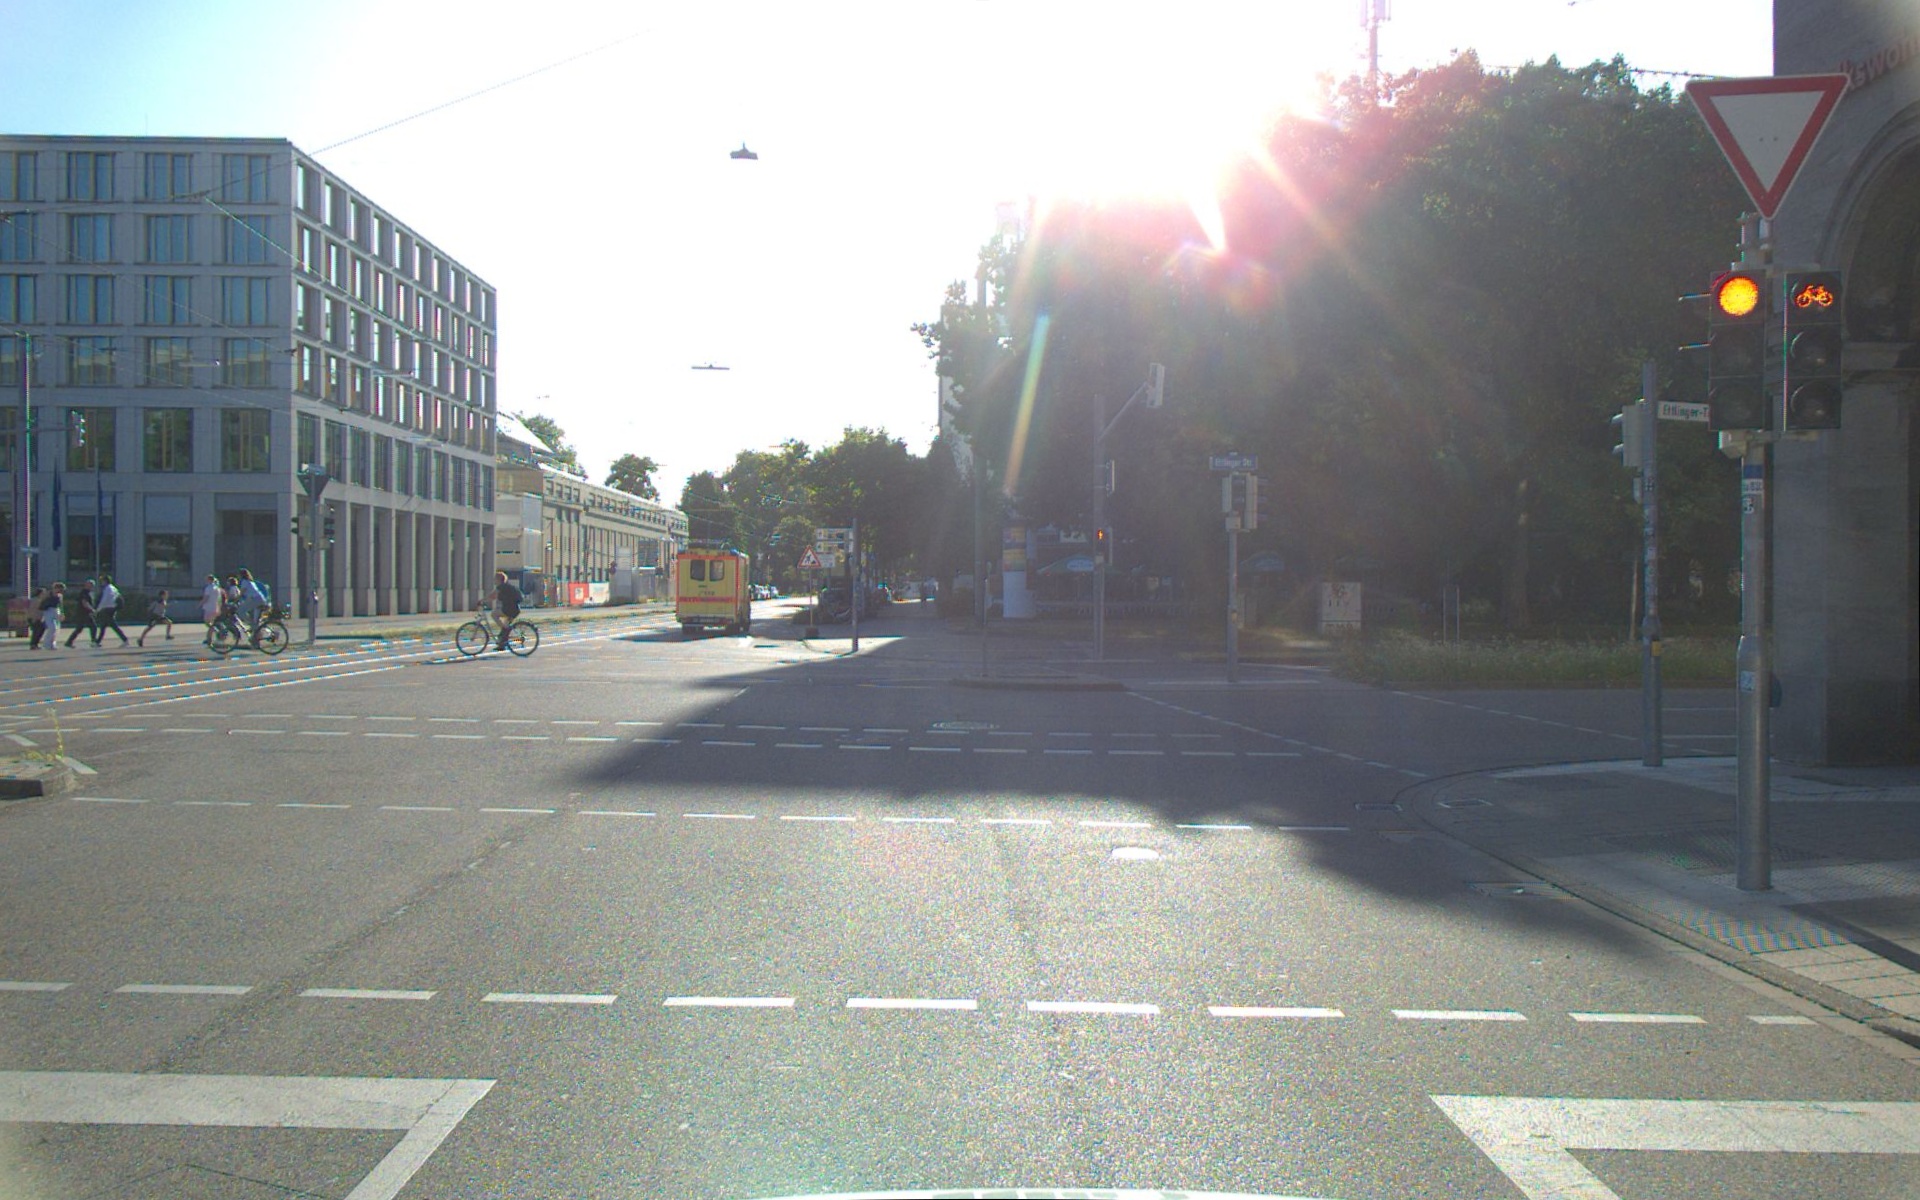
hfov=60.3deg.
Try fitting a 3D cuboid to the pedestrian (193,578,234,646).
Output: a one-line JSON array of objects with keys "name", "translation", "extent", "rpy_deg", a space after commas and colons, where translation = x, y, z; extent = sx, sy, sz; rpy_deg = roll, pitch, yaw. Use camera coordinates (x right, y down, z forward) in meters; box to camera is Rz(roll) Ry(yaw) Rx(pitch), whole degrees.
[{"name": "pedestrian", "translation": [-20.070, 0.320, 44.476], "extent": [0.723, 1.835, 0.716], "rpy_deg": [0, 0, 4]}]

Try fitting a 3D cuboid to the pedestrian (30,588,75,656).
[{"name": "pedestrian", "translation": [-22.809, 0.544, 41.579], "extent": [0.777, 1.673, 0.620], "rpy_deg": [0, 0, -5]}]

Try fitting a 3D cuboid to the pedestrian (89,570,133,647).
[{"name": "pedestrian", "translation": [-21.845, 0.218, 42.580], "extent": [0.785, 1.951, 0.637], "rpy_deg": [0, 0, 4]}]

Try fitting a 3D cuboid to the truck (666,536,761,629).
[{"name": "truck", "translation": [-8.539, -0.584, 57.841], "extent": [2.662, 3.068, 6.485], "rpy_deg": [0, 0, -3]}]

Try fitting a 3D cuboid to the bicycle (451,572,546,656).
[{"name": "bicycle", "translation": [-9.816, 0.299, 35.234], "extent": [1.862, 1.765, 0.596], "rpy_deg": [0, 0, -9]}]

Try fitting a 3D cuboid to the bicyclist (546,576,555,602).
[{"name": "bicyclist", "translation": [-32.121, -0.855, 129.652], "extent": [0.559, 2.059, 0.761], "rpy_deg": [0, 0, -2]}]

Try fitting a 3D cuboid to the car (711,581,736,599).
[{"name": "car", "translation": [-22.307, -0.937, 156.315], "extent": [1.856, 1.635, 4.498], "rpy_deg": [0, 0, -3]}]

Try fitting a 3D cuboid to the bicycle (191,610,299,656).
[{"name": "bicycle", "translation": [-15.166, 0.686, 35.109], "extent": [2.026, 0.949, 0.574], "rpy_deg": [0, 0, -8]}]

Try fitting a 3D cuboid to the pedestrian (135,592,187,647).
[{"name": "pedestrian", "translation": [-20.113, 0.483, 41.644], "extent": [0.975, 1.340, 0.765], "rpy_deg": [0, 0, -10]}]

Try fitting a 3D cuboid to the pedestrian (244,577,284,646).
[{"name": "pedestrian", "translation": [-18.787, 0.309, 44.666], "extent": [0.851, 1.835, 0.532], "rpy_deg": [0, 0, 4]}]

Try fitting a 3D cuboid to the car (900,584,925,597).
[{"name": "car", "translation": [-6.092, -1.224, 213.343], "extent": [3.152, 1.616, 1.445], "rpy_deg": [1, 0, -5]}]

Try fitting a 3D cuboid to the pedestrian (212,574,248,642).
[{"name": "pedestrian", "translation": [-20.121, 0.218, 45.591], "extent": [0.723, 1.835, 0.532], "rpy_deg": [0, 0, 4]}]

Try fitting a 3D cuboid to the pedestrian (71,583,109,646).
[{"name": "pedestrian", "translation": [-23.466, 0.382, 44.618], "extent": [0.679, 1.673, 0.622], "rpy_deg": [0, 0, 6]}]

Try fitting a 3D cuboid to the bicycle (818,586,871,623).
[{"name": "bicycle", "translation": [-5.675, 0.238, 81.237], "extent": [2.495, 1.774, 1.037], "rpy_deg": [1, 0, -1]}]

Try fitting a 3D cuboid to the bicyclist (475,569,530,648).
[{"name": "bicyclist", "translation": [-9.750, 0.175, 35.243], "extent": [1.054, 1.669, 0.596], "rpy_deg": [0, 0, -8]}]

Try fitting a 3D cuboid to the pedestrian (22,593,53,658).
[{"name": "pedestrian", "translation": [-24.110, 0.665, 43.227], "extent": [0.687, 1.673, 0.614], "rpy_deg": [0, 0, -32]}]

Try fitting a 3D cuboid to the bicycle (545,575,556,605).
[{"name": "bicycle", "translation": [-32.121, -0.750, 129.653], "extent": [0.559, 2.336, 1.422], "rpy_deg": [0, 0, -2]}]

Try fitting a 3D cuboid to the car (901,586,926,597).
[{"name": "car", "translation": [-5.961, -1.095, 211.077], "extent": [3.153, 1.285, 1.372], "rpy_deg": [1, 0, -2]}]

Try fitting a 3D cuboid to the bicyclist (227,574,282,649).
[{"name": "bicyclist", "translation": [-14.984, 0.241, 35.135], "extent": [0.956, 1.587, 0.574], "rpy_deg": [0, 0, -8]}]

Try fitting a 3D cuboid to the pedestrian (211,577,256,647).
[{"name": "pedestrian", "translation": [-19.111, 0.317, 43.505], "extent": [0.852, 1.835, 0.664], "rpy_deg": [0, 0, 4]}]
